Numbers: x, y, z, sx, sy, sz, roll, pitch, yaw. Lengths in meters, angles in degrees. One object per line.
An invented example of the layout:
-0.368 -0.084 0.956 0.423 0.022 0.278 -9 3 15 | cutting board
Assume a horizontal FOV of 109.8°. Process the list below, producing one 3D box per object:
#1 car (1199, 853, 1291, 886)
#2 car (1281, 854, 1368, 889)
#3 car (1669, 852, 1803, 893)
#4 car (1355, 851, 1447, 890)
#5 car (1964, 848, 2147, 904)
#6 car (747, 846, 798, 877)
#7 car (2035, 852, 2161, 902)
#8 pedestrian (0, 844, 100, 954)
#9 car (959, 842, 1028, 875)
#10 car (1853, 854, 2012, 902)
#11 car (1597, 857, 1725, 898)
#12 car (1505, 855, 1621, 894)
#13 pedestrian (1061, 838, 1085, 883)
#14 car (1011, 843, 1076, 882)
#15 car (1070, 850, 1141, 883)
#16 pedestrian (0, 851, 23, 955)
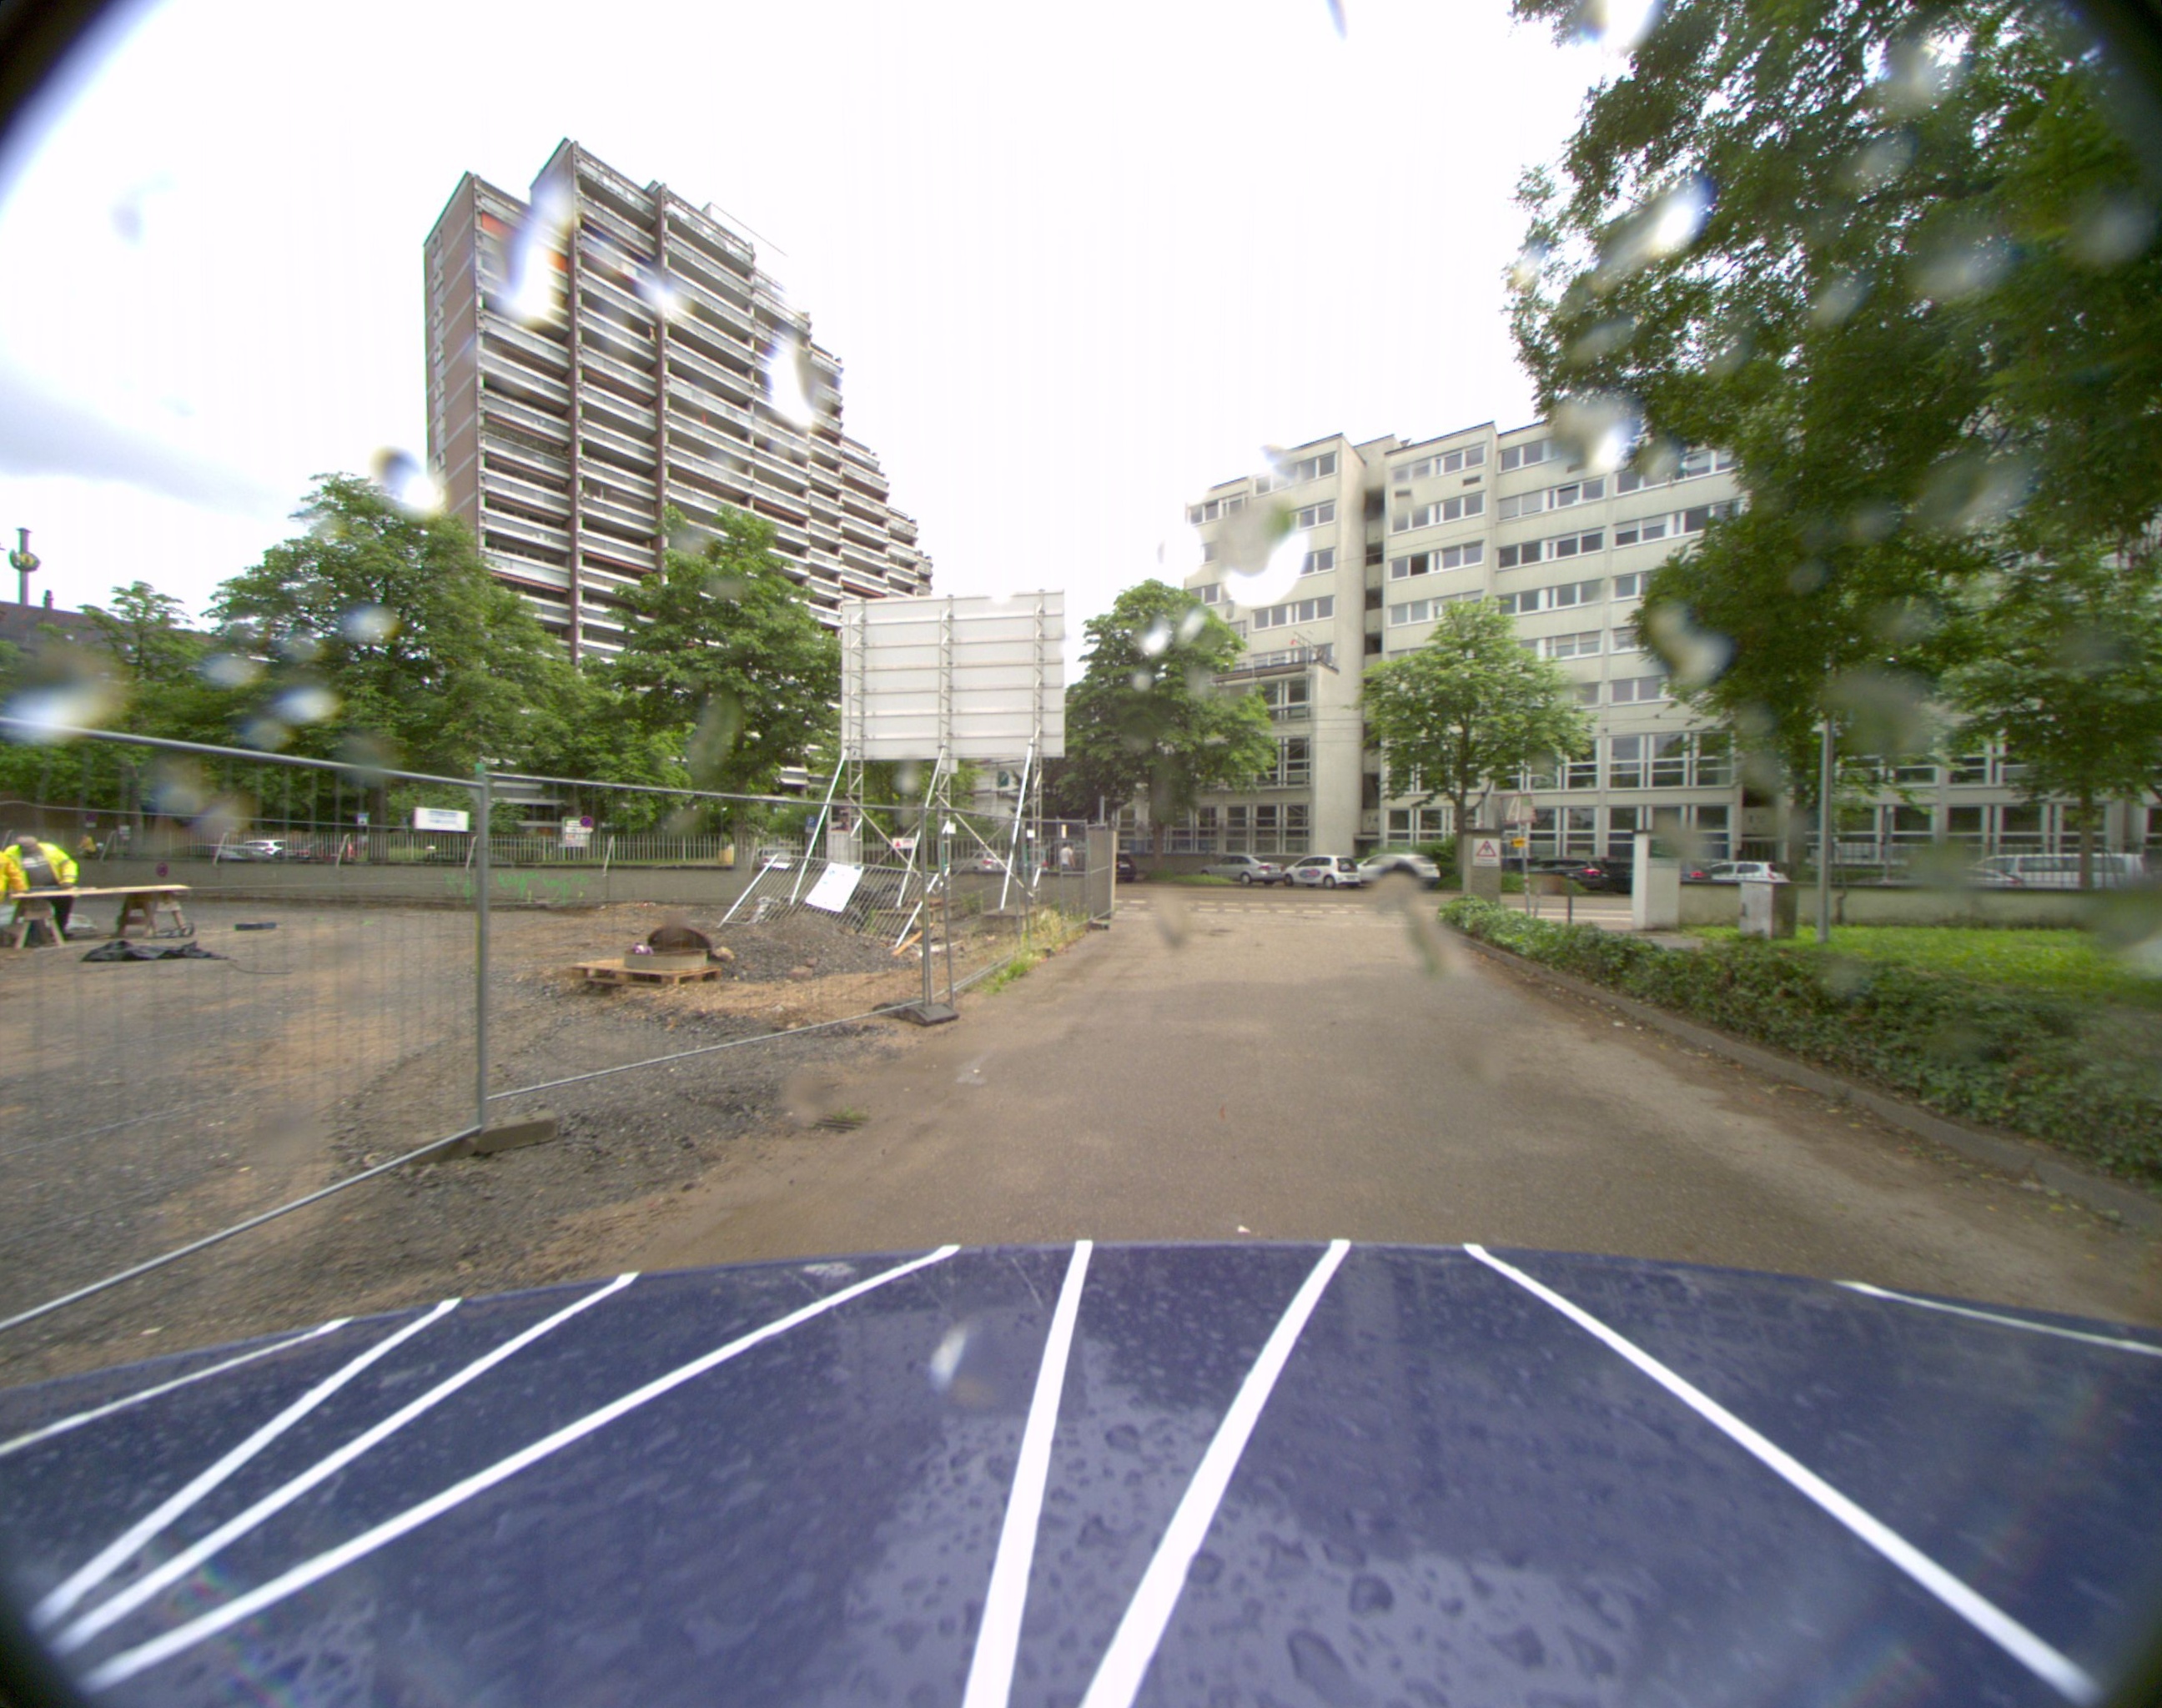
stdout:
7.541 0.717 35.289 1.727 1.406 3.989 2 0 -37 | car
10.860 0.758 34.058 1.657 1.436 3.381 2 0 -32 | car
27.033 0.740 31.470 1.793 1.497 3.770 2 0 -32 | car
14.127 0.716 33.682 1.711 1.594 3.381 2 0 -32 | car
37.064 0.804 29.028 1.793 1.921 4.074 2 0 -32 | car
-16.062 0.338 39.491 1.862 1.478 3.990 -2 2 -30 | car
39.776 0.871 28.932 1.793 1.796 4.074 2 0 -32 | car
-16.285 0.685 11.962 0.778 1.664 0.711 0 1 -25 | pedestrian
-4.296 0.170 36.864 1.862 1.478 3.990 -2 2 -30 | car
33.713 0.910 30.222 1.794 1.641 4.072 2 1 -42 | car
23.961 0.935 31.496 1.793 1.497 3.770 2 0 -32 | car
20.622 0.847 32.656 1.793 1.497 3.770 2 0 -32 | car
-0.352 0.286 34.469 0.858 2.002 0.932 1 1 15 | pedestrian
-1.855 0.378 36.530 1.625 1.737 3.638 0 2 -30 | car
1.091 0.535 35.786 1.625 1.419 3.638 0 1 -30 | car
-15.916 0.710 10.863 0.624 1.500 0.649 0 1 -2 | pedestrian
